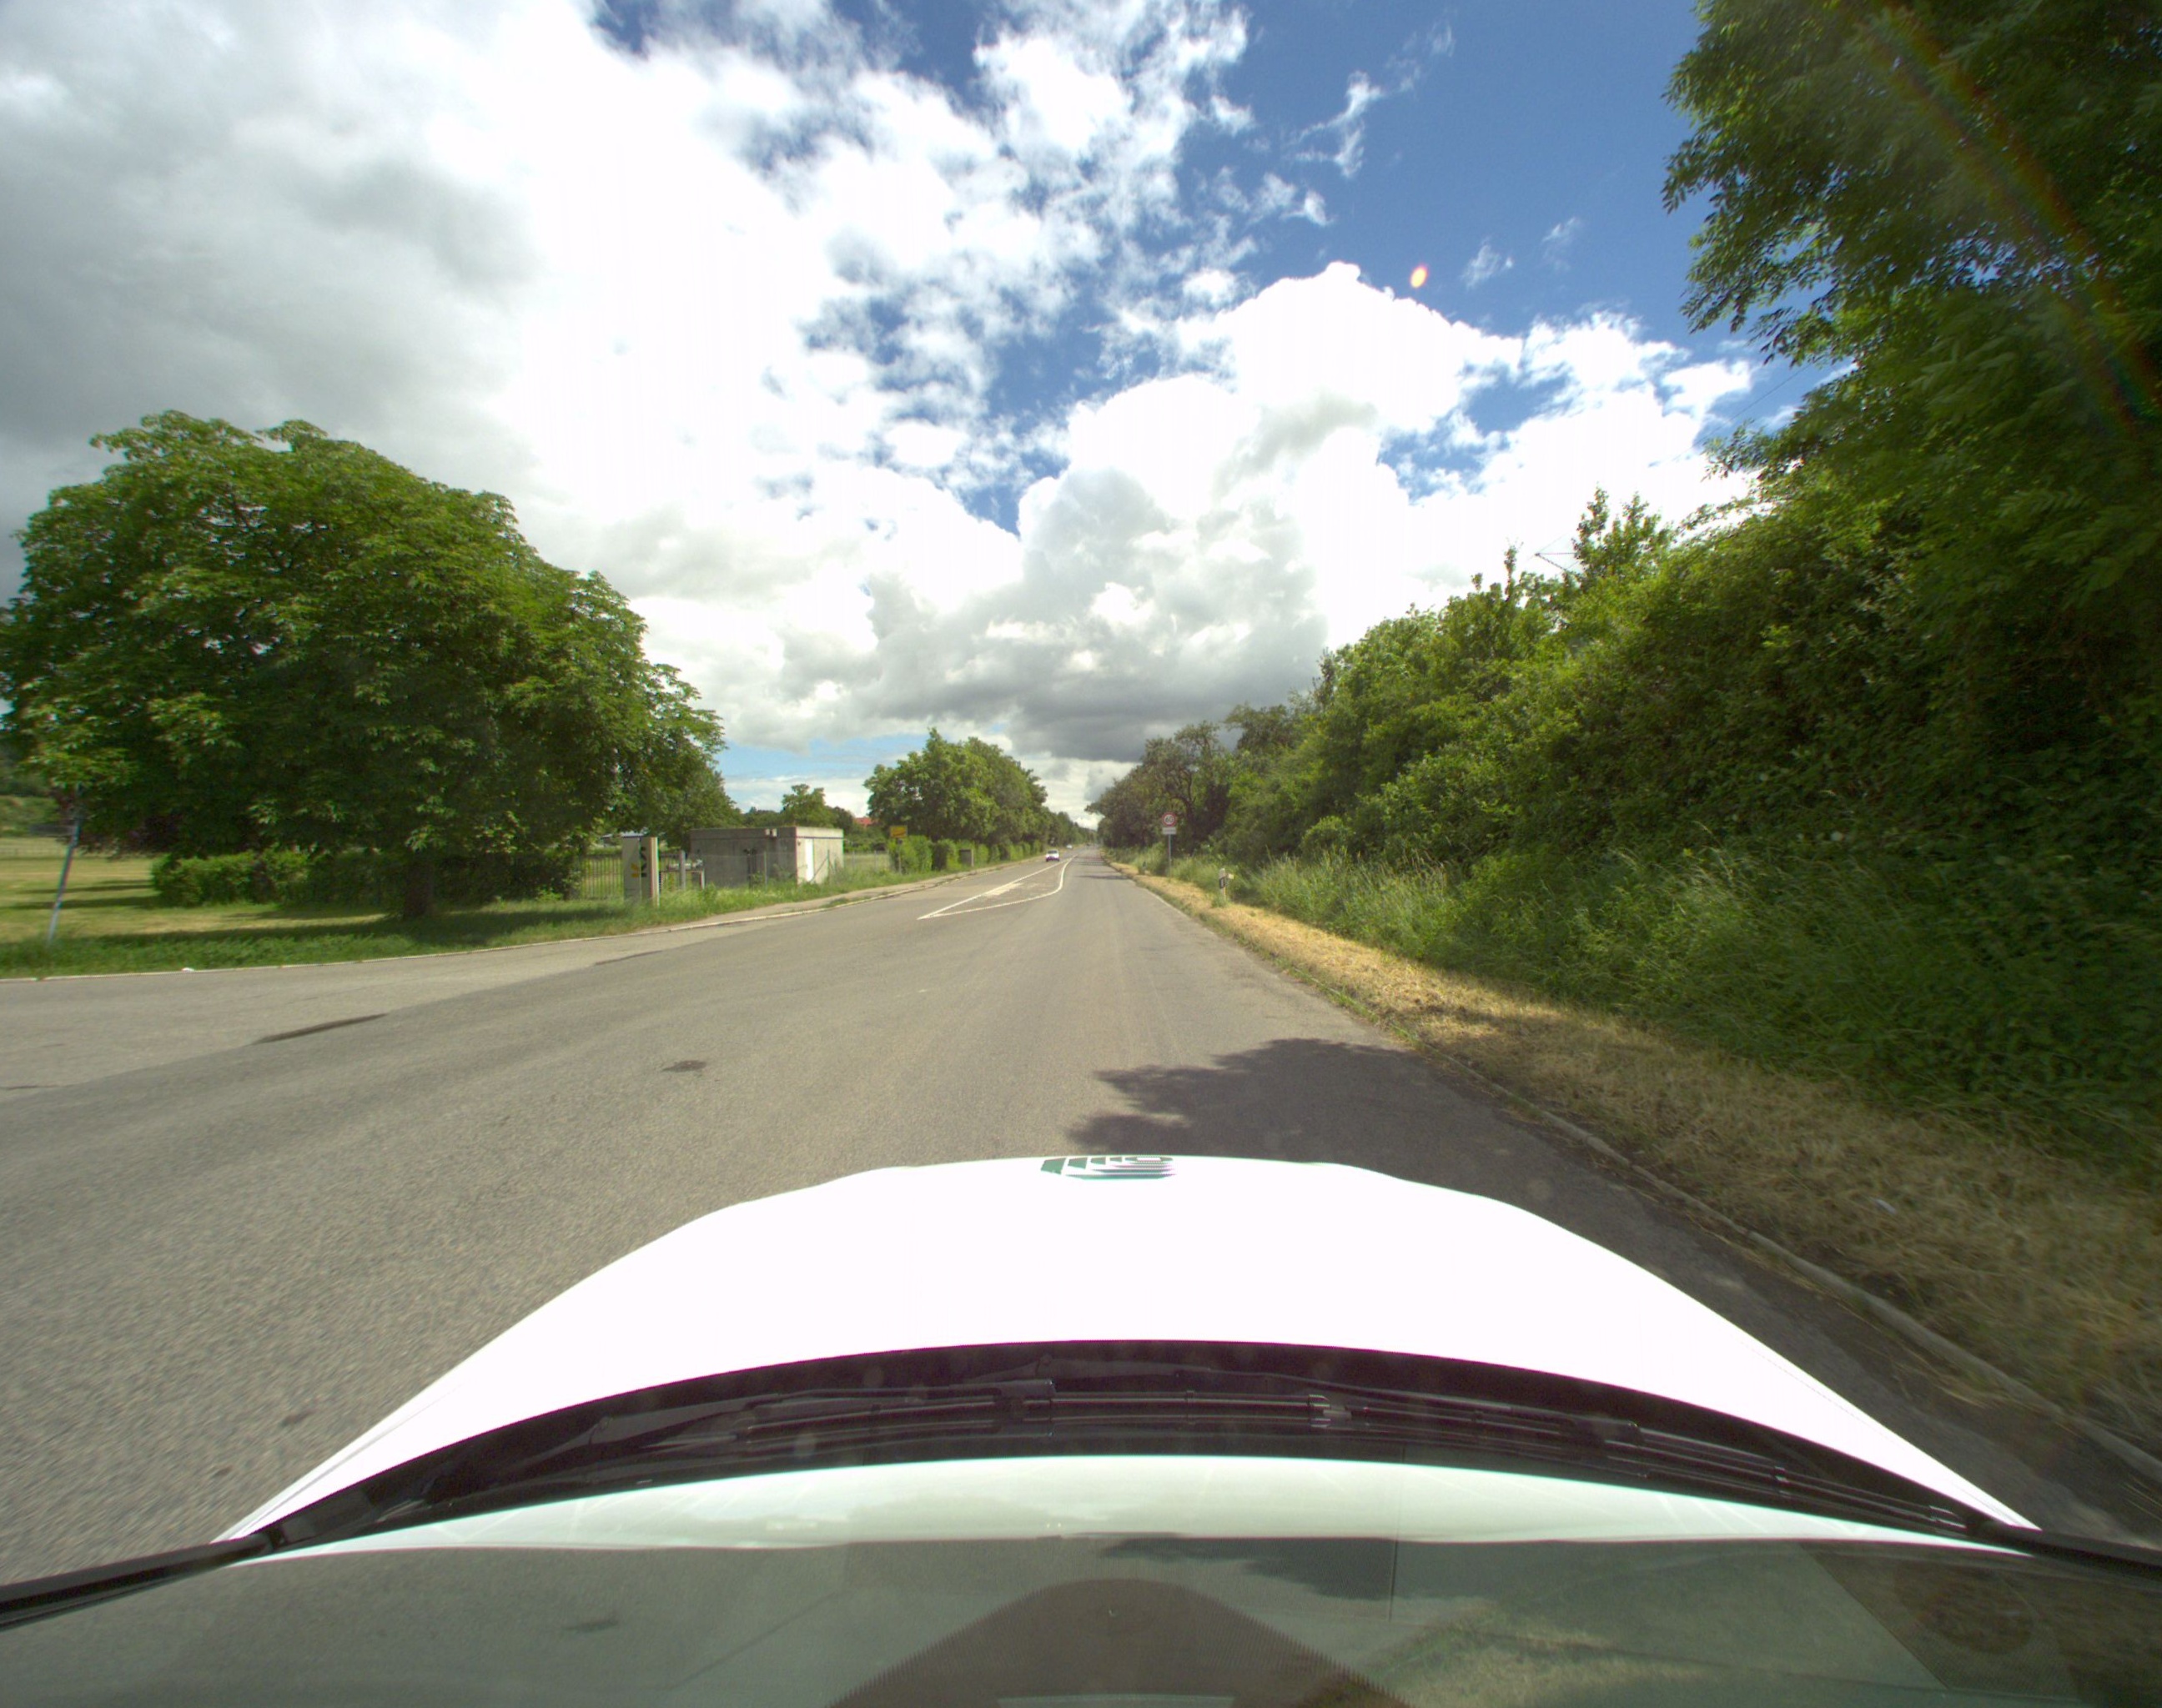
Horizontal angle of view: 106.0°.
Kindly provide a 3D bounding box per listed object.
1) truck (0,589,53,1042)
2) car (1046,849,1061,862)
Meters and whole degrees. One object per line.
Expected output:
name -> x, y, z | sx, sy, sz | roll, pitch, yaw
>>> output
truck -> -11.803, -0.249, 5.498 | 5.543, 3.823, 2.980 | -2, 0, -4
car -> -3.304, 0.178, 97.778 | 1.655, 1.432, 3.692 | -3, 1, 0
